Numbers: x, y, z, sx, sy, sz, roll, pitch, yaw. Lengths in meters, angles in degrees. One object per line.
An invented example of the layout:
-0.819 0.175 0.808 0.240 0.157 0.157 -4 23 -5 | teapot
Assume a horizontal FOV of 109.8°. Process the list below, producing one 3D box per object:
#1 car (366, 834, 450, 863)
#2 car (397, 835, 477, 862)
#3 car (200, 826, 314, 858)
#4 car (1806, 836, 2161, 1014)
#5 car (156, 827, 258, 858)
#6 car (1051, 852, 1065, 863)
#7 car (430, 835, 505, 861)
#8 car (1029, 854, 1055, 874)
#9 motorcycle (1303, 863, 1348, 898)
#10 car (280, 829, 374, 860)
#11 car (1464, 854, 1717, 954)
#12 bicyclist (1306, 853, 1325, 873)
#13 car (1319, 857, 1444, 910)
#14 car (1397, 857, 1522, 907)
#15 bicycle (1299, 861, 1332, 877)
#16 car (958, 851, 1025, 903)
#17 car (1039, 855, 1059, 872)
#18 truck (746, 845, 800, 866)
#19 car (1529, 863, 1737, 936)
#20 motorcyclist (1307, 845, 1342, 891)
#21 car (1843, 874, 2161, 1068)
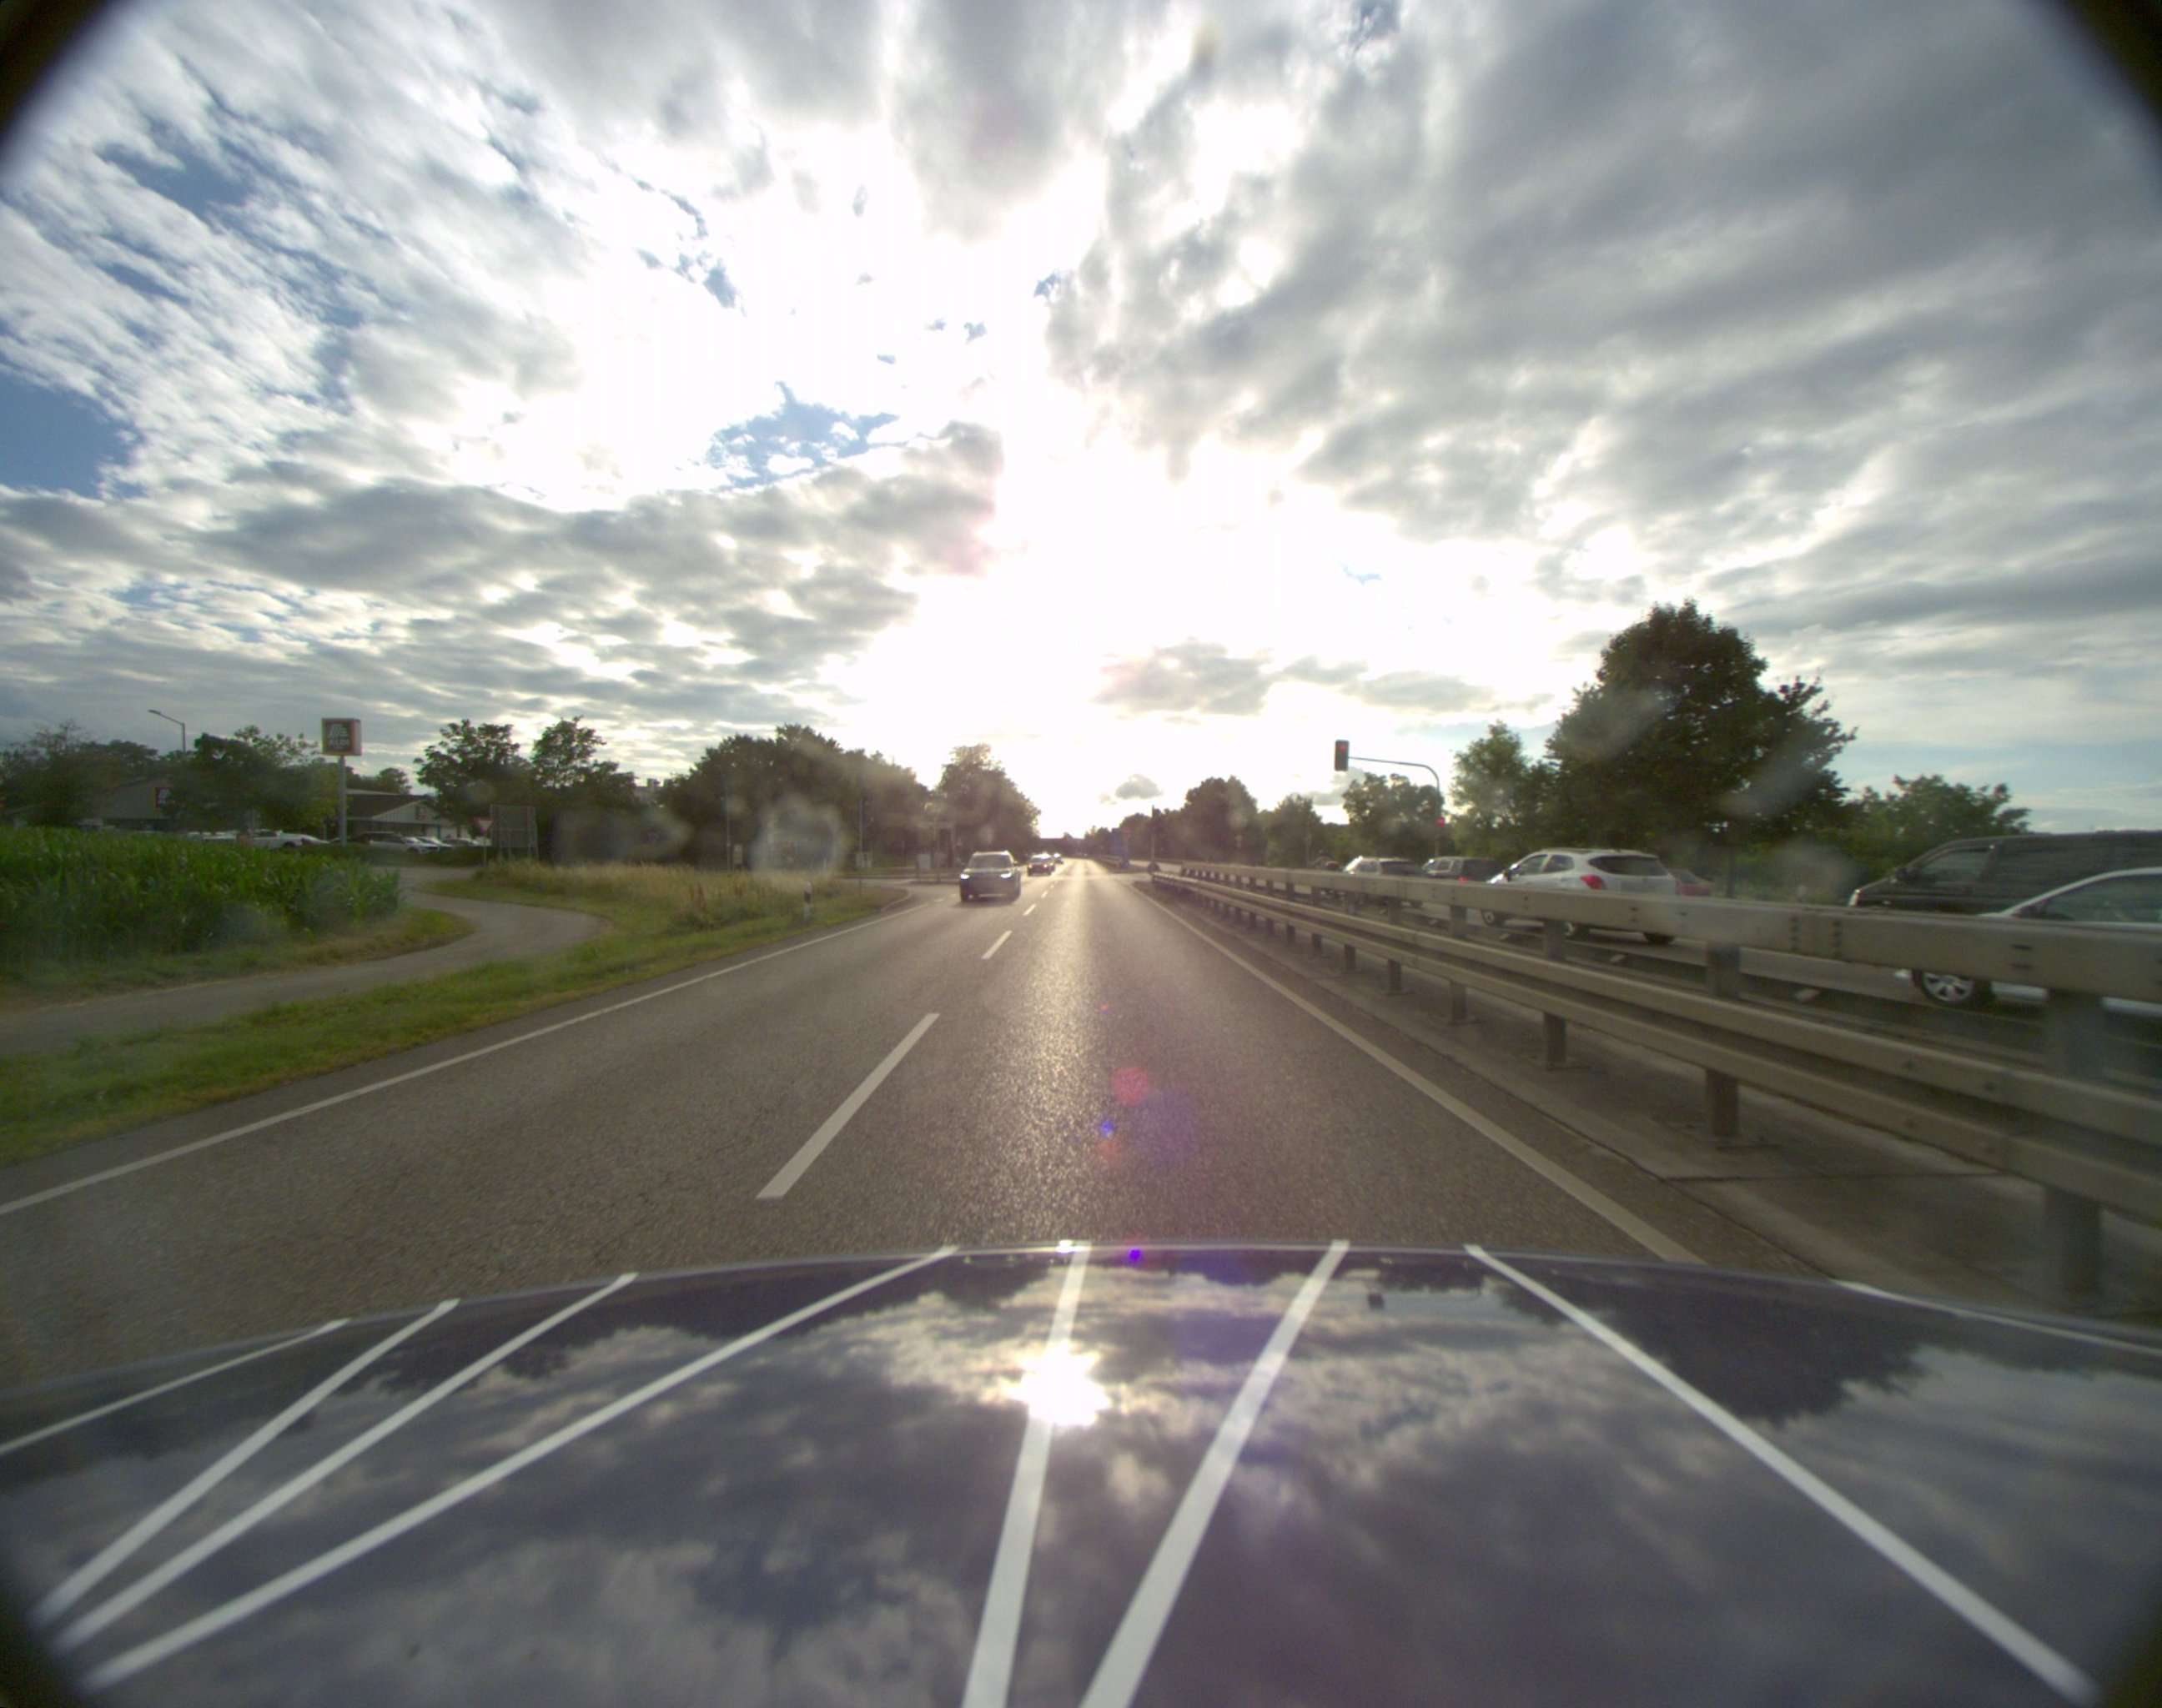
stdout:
-49.175 -0.410 55.573 4.303 1.873 1.960 2 1 -3 | car
-49.126 -0.428 58.010 4.303 1.841 1.960 2 1 -3 | car
-54.985 -0.815 50.921 2.000 2.002 5.610 1 1 -7 | car
13.210 0.792 10.308 1.998 2.002 4.946 1 1 1 | car
-57.614 -0.728 50.215 1.960 1.873 4.302 2 0 -7 | car
-3.455 0.531 115.757 1.998 1.486 4.000 1 0 0 | car
-49.206 -0.487 61.001 4.303 1.873 1.960 2 1 -3 | car
-2.921 0.707 57.681 1.666 1.424 3.995 -1 0 2 | car
9.336 0.996 29.175 0.918 1.196 2.478 1 1 1 | motorcycle
-51.497 -0.644 51.937 4.303 1.873 1.960 2 1 -3 | car
9.454 0.825 14.651 1.912 1.600 4.404 1 0 0 | car
17.850 0.675 57.737 1.225 1.443 0.816 1 1 6 | bicyclist
9.316 0.852 24.070 1.912 1.420 5.151 1 0 0 | car
13.085 0.914 26.676 1.912 1.527 4.938 1 0 0 | car
17.812 1.124 57.740 2.324 1.131 0.816 1 1 6 | bicycle
-3.124 0.754 27.376 1.849 1.640 4.480 -2 0 -1 | car
-2.945 0.854 70.086 1.700 1.407 3.999 -1 0 -1 | car
-30.922 0.162 76.381 4.679 1.985 1.819 -1 1 -36 | truck
12.952 0.998 18.217 1.912 1.456 4.184 1 0 0 | car
9.336 0.512 29.166 0.918 1.699 1.276 1 1 1 | motorcyclist
9.347 0.961 6.331 1.793 1.436 4.160 1 0 0 | car
